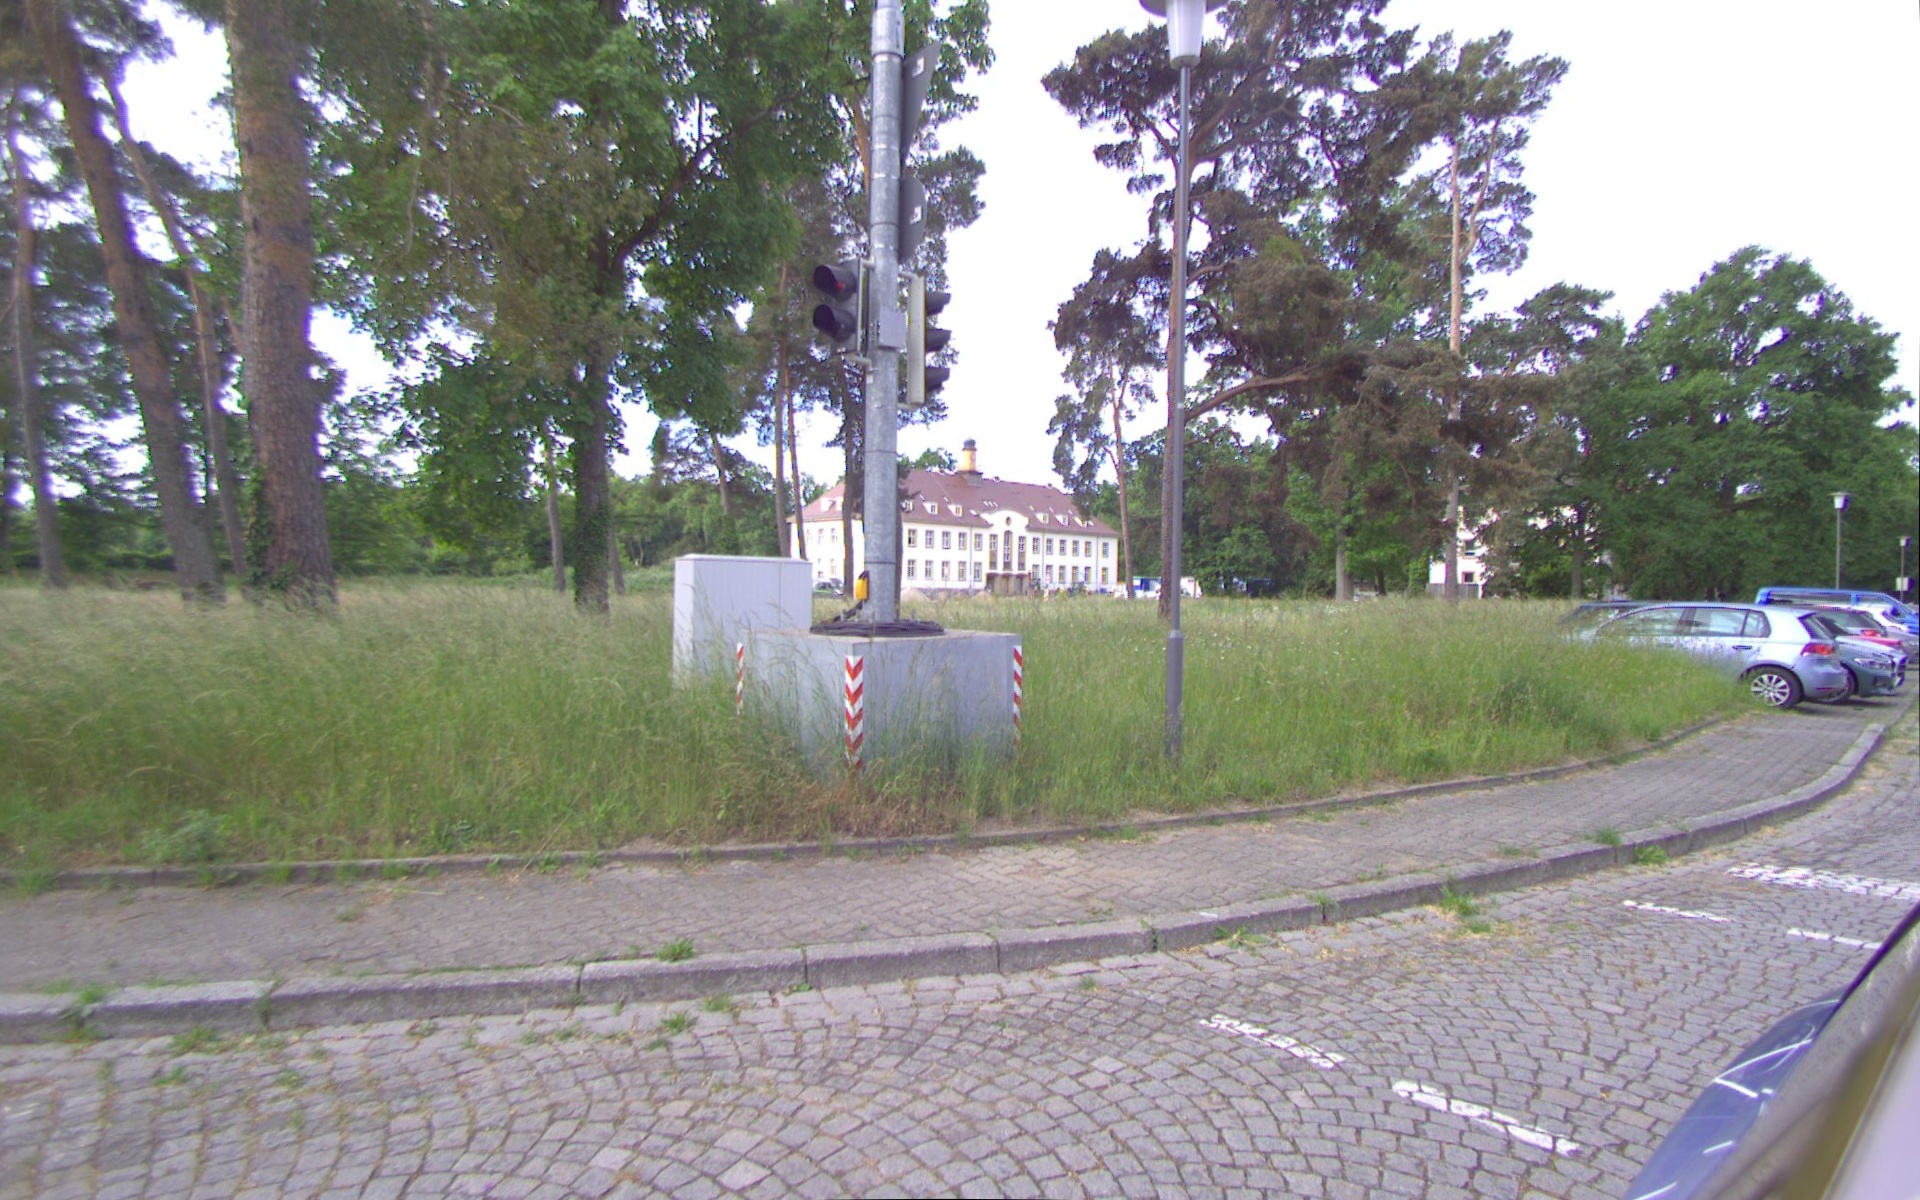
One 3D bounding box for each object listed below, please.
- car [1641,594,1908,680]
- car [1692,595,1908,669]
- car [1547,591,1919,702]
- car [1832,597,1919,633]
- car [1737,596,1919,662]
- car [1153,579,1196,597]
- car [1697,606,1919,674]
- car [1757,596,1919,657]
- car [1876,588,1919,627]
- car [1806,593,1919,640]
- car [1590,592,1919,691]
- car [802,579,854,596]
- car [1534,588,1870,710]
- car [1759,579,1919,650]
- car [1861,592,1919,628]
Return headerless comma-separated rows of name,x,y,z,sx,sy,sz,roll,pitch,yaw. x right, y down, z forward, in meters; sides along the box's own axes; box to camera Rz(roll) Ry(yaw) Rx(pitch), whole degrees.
car,16.279,0.660,20.363,1.769,1.470,3.967,0,1,-43
car,19.718,0.689,23.848,1.770,1.524,3.779,0,1,-45
car,12.683,0.657,16.852,4.758,1.501,1.734,2,1,44
car,41.213,0.654,44.641,1.966,1.549,3.991,0,0,-43
car,22.126,0.673,25.426,1.788,1.474,3.847,0,1,-40
car,24.718,-1.380,116.653,5.132,2.039,2.152,0,1,-41
car,18.124,0.796,21.649,1.469,1.222,3.596,1,1,-42
car,23.973,0.664,27.518,1.609,1.470,3.405,0,1,-42
car,51.930,0.415,54.264,1.966,2.039,3.993,0,1,-42
car,34.040,0.591,37.437,1.966,1.630,3.992,0,1,-43
car,14.683,0.664,18.813,1.782,1.501,4.763,0,1,-43
car,-15.119,-1.424,115.862,6.164,1.882,2.307,2,1,38
car,10.863,0.624,14.997,1.579,1.444,3.768,1,2,-43
car,27.834,0.416,31.203,1.967,1.963,4.743,0,2,-43
car,48.644,0.513,51.449,1.966,1.784,4.004,0,1,-42
